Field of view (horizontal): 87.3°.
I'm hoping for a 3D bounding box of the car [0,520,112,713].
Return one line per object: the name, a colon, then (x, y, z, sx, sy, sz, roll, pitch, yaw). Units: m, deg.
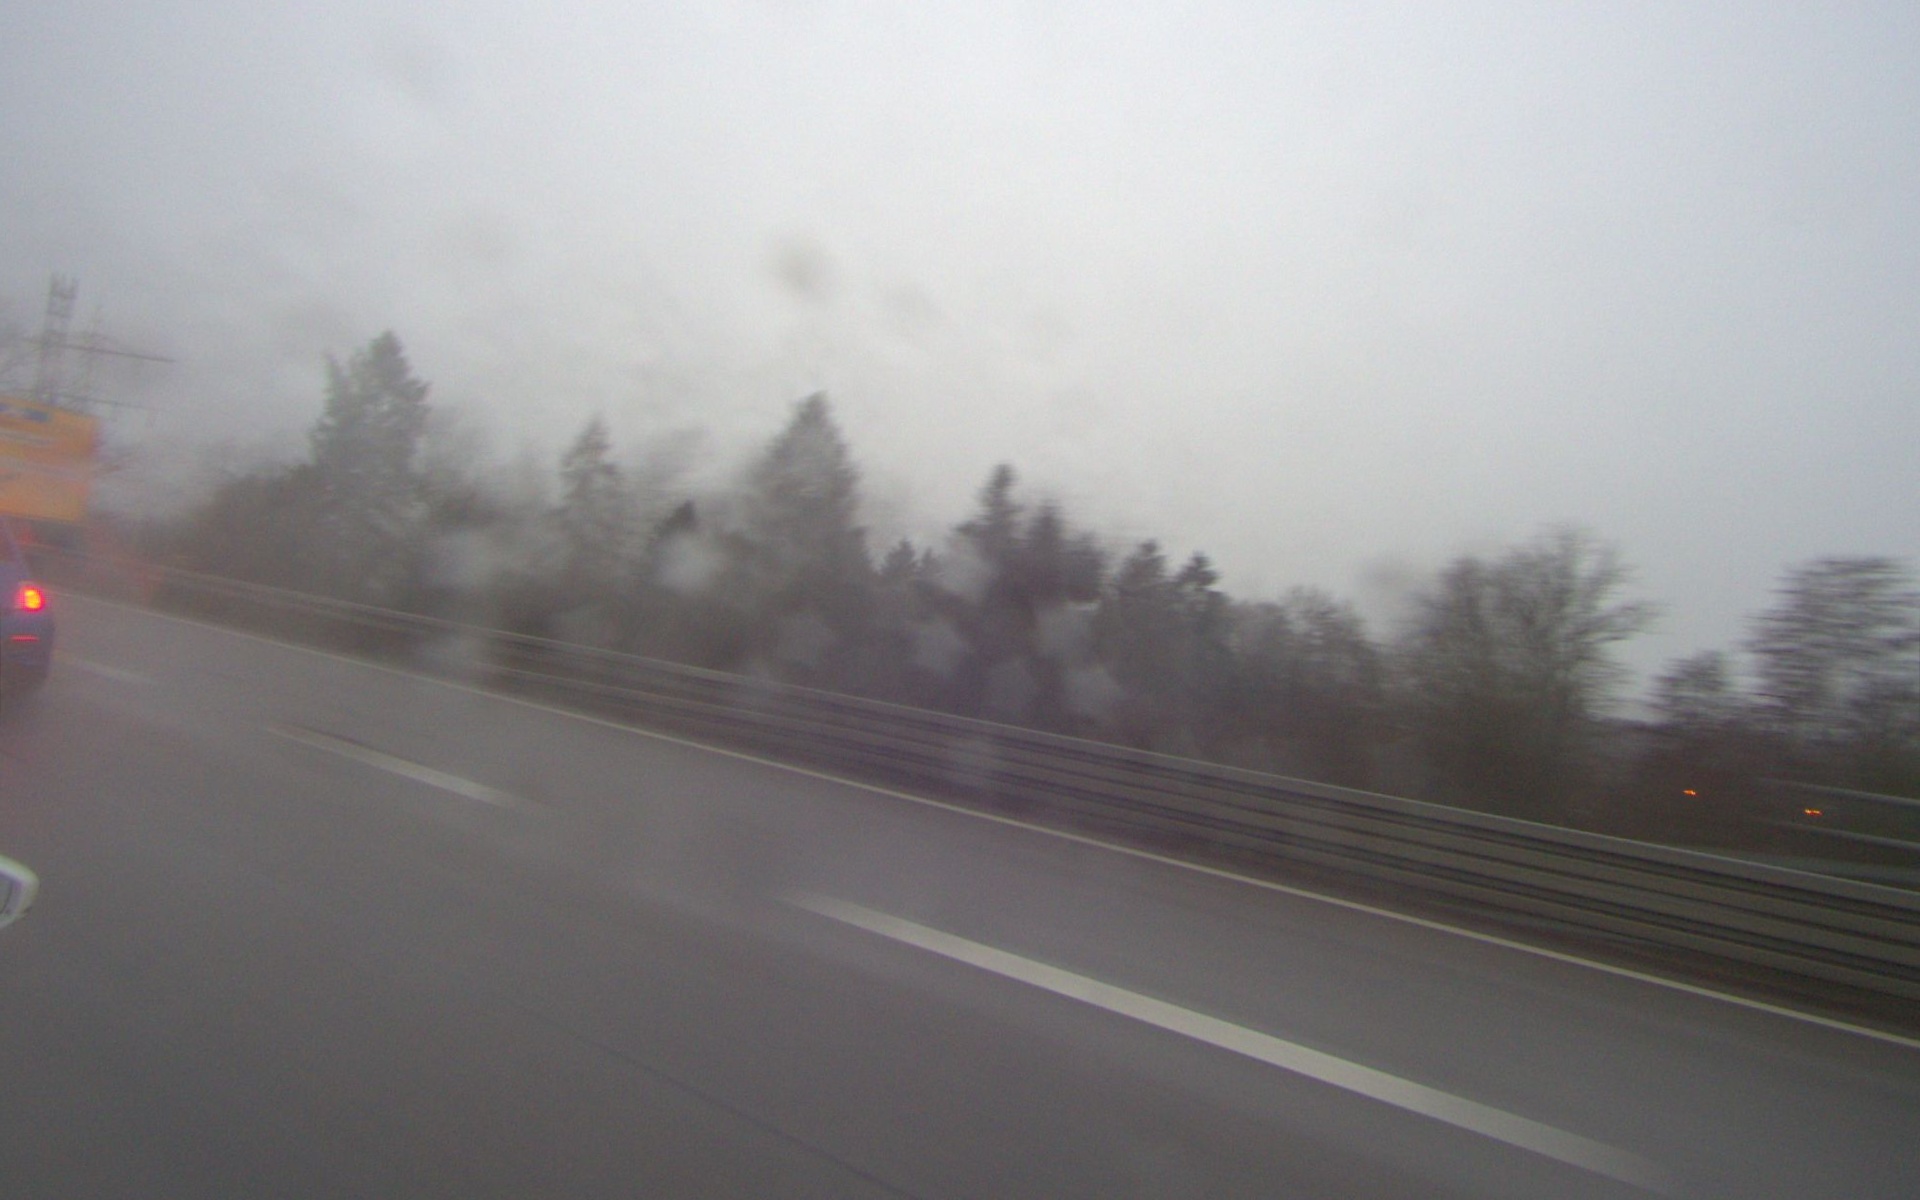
car: (-9.526, -0.081, 8.865, 4.079, 1.470, 1.849, 8, -1, 32)
